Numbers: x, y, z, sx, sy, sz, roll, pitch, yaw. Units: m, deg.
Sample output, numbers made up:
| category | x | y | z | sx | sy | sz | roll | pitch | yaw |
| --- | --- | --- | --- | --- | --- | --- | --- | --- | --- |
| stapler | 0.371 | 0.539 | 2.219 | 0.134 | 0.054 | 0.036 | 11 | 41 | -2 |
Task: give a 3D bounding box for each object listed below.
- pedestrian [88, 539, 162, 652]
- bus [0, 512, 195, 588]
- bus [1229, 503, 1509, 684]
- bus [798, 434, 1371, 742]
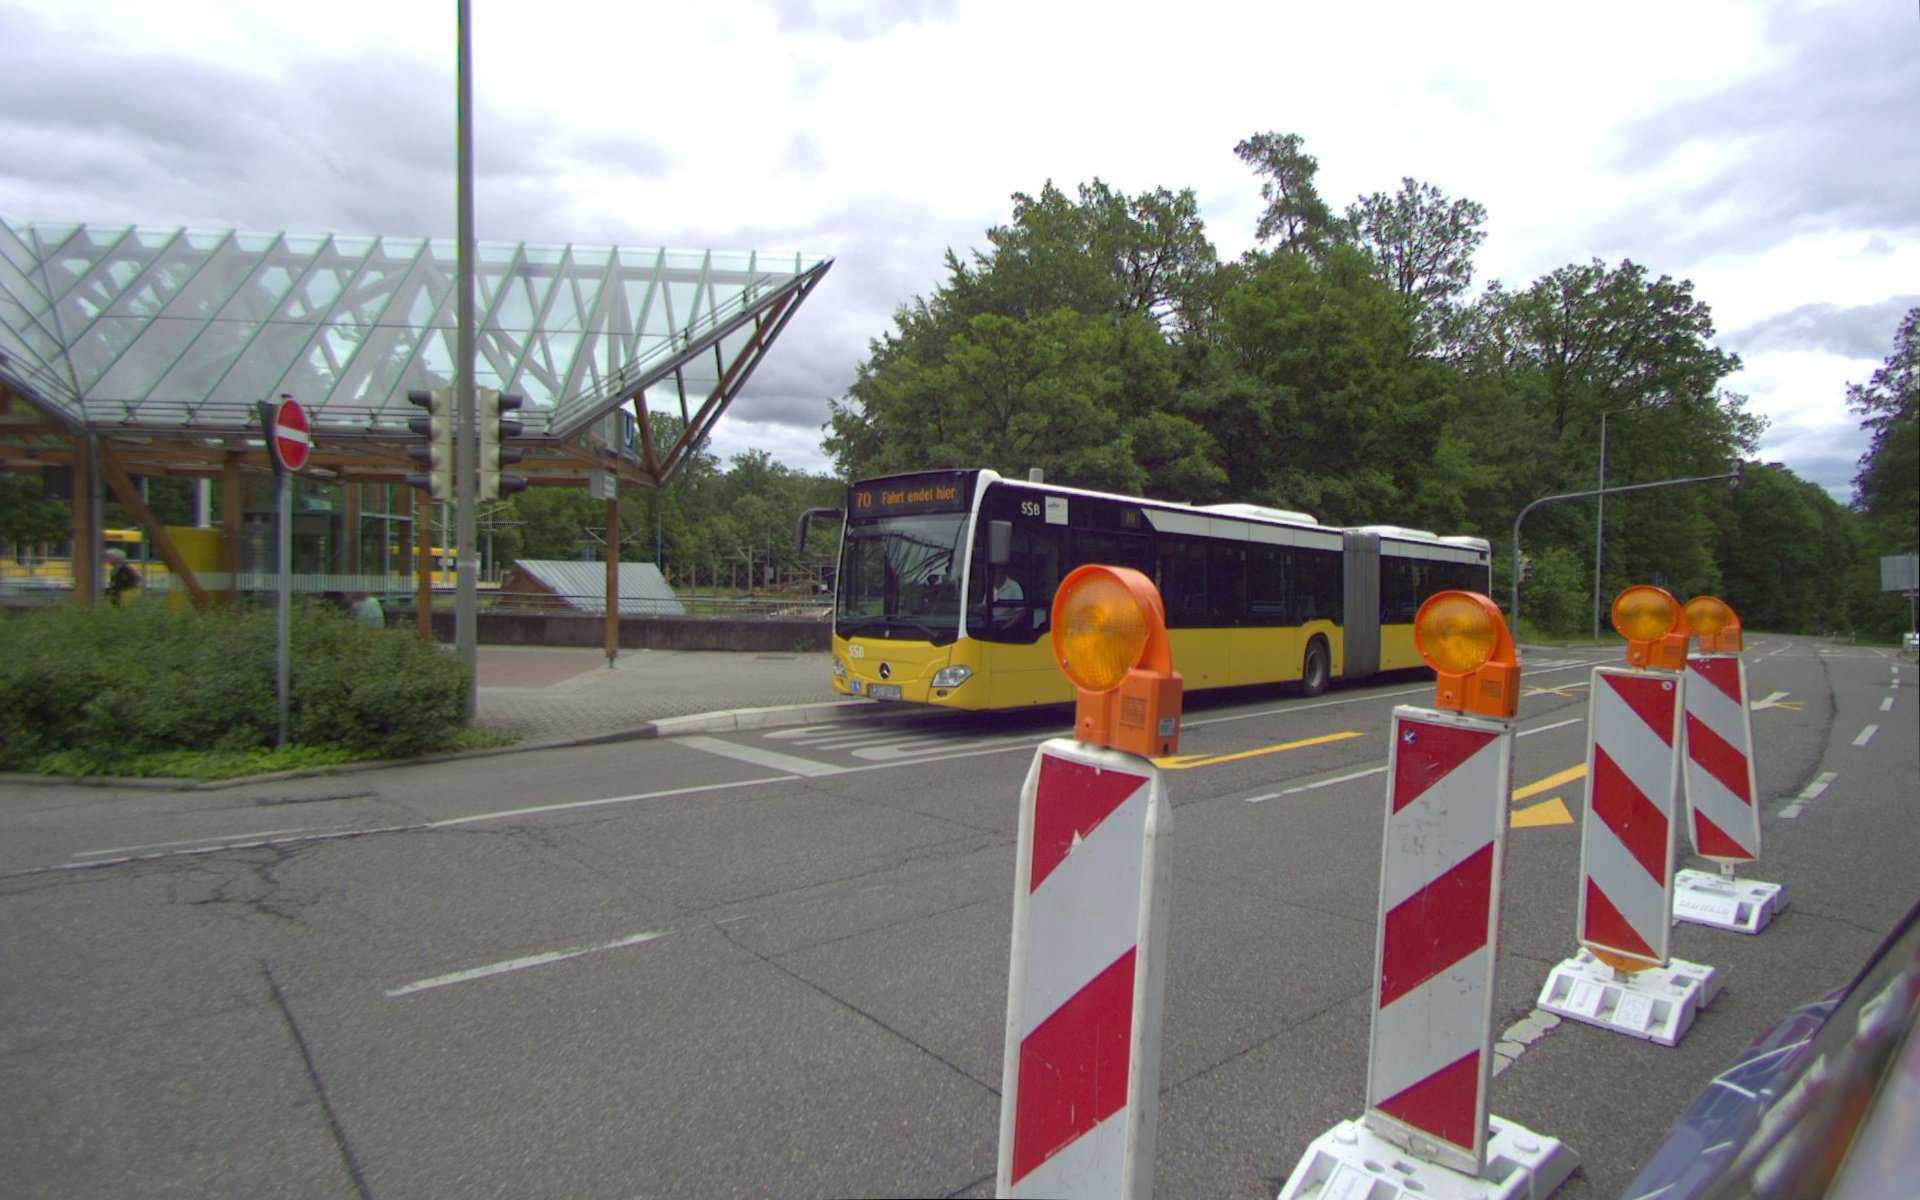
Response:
| category | x | y | z | sx | sy | sz | roll | pitch | yaw |
| --- | --- | --- | --- | --- | --- | --- | --- | --- | --- |
| pedestrian | -13.457 | -0.071 | 16.329 | 0.657 | 1.780 | 0.654 | 0 | 0 | 9 |
| bus | -46.952 | -2.386 | 48.310 | 3.919 | 3.527 | 18.504 | 0 | 1 | 13 |
| bus | 8.962 | -0.121 | 21.581 | 2.804 | 3.199 | 7.631 | 1 | 0 | 45 |
| bus | 2.625 | -0.124 | 15.175 | 2.804 | 3.199 | 10.348 | 1 | 0 | 45 |
